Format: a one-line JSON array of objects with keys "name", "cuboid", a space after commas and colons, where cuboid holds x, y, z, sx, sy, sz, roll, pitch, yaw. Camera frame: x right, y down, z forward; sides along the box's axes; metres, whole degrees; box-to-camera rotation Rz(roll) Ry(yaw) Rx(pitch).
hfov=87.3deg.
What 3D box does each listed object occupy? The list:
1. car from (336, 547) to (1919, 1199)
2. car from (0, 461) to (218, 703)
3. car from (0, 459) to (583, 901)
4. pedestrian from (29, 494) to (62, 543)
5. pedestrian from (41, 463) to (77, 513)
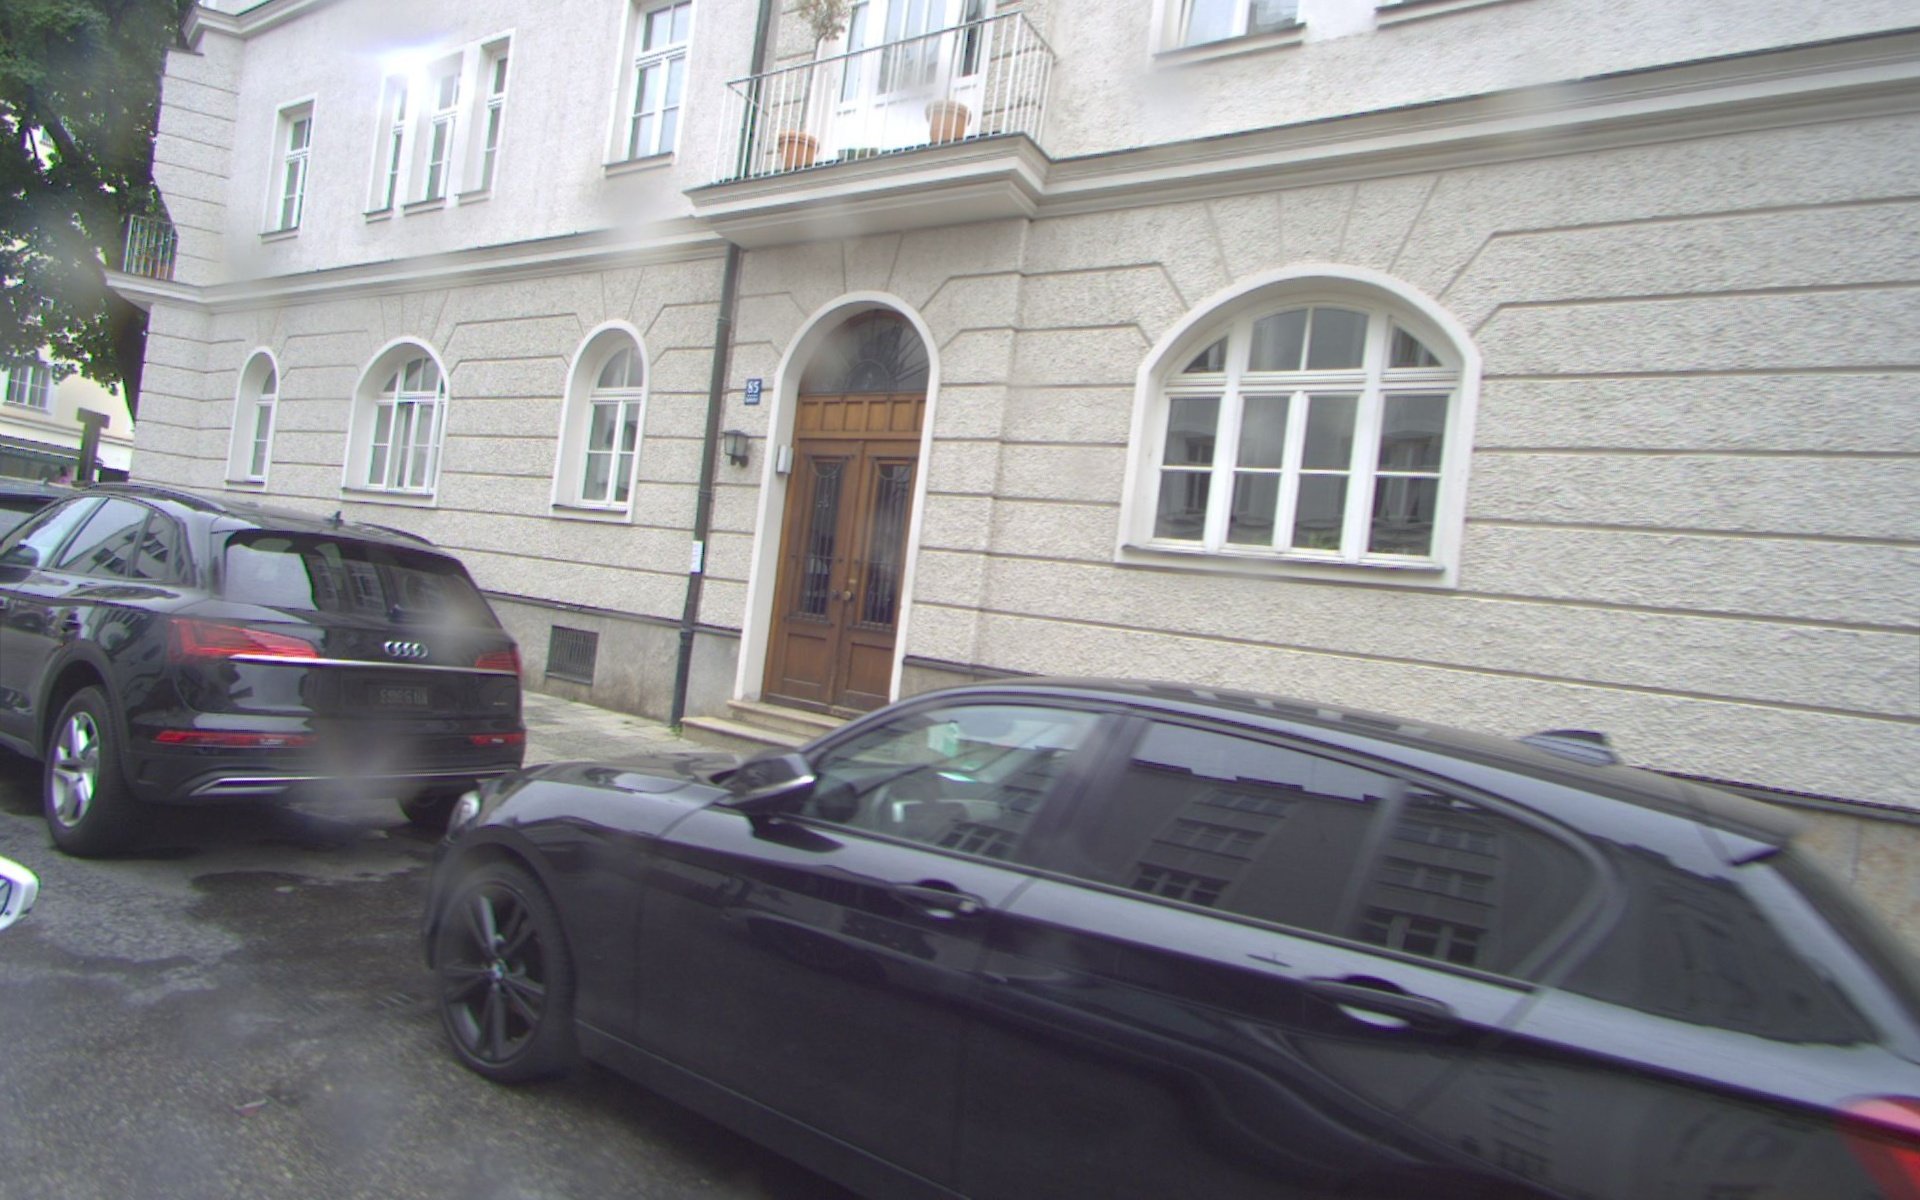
[{"name": "car", "cuboid": [0.208, 0.852, 2.918, 4.132, 1.488, 1.709, 7, -1, 33]}, {"name": "car", "cuboid": [-8.589, -0.307, 8.634, 4.350, 1.733, 1.794, 7, -1, 29]}, {"name": "car", "cuboid": [-4.398, 0.222, 5.777, 4.303, 1.654, 1.781, 7, -2, 32]}, {"name": "pedestrian", "cuboid": [-31.076, -2.761, 34.187, 0.525, 1.569, 0.434, 7, 0, 2]}, {"name": "pedestrian", "cuboid": [-31.250, -3.880, 34.902, 0.567, 1.592, 0.554, 7, -2, 20]}]
